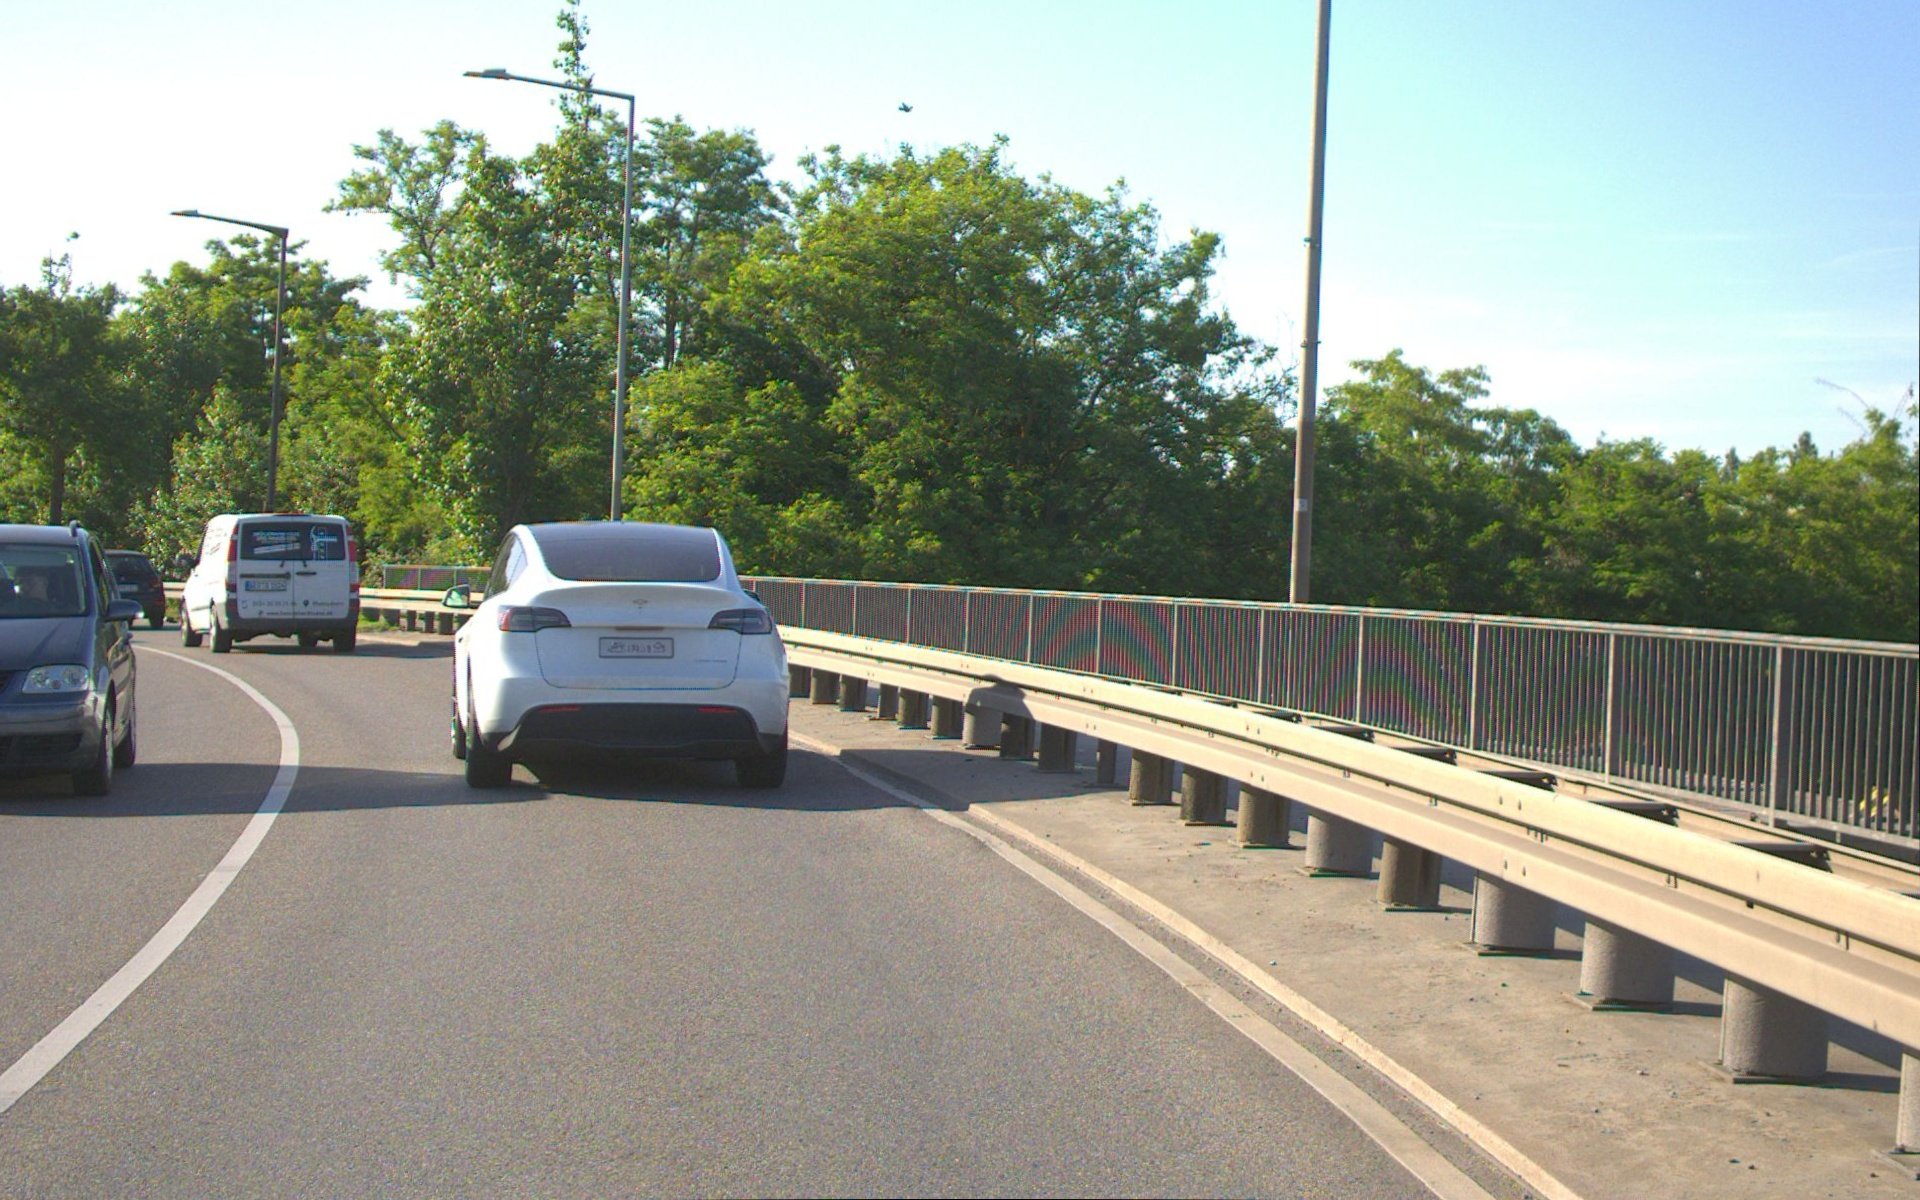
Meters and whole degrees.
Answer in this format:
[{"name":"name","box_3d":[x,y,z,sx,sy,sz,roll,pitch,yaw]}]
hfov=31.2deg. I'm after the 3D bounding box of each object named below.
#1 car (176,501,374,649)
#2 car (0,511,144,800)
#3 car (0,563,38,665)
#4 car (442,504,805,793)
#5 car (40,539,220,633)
[{"name":"car","box_3d":[-9.489,-0.382,47.360,2.004,1.934,4.469,0,1,-20]},{"name":"car","box_3d":[-6.067,0.272,21.186,1.848,1.618,4.104,0,1,-11]},{"name":"car","box_3d":[-15.725,0.189,53.128,1.837,1.514,3.770,-1,1,-32]},{"name":"car","box_3d":[-2.241,0.241,21.900,1.985,1.632,4.064,-1,1,-10]},{"name":"car","box_3d":[-15.139,-0.262,62.591,1.969,1.632,4.000,-1,1,-33]}]
